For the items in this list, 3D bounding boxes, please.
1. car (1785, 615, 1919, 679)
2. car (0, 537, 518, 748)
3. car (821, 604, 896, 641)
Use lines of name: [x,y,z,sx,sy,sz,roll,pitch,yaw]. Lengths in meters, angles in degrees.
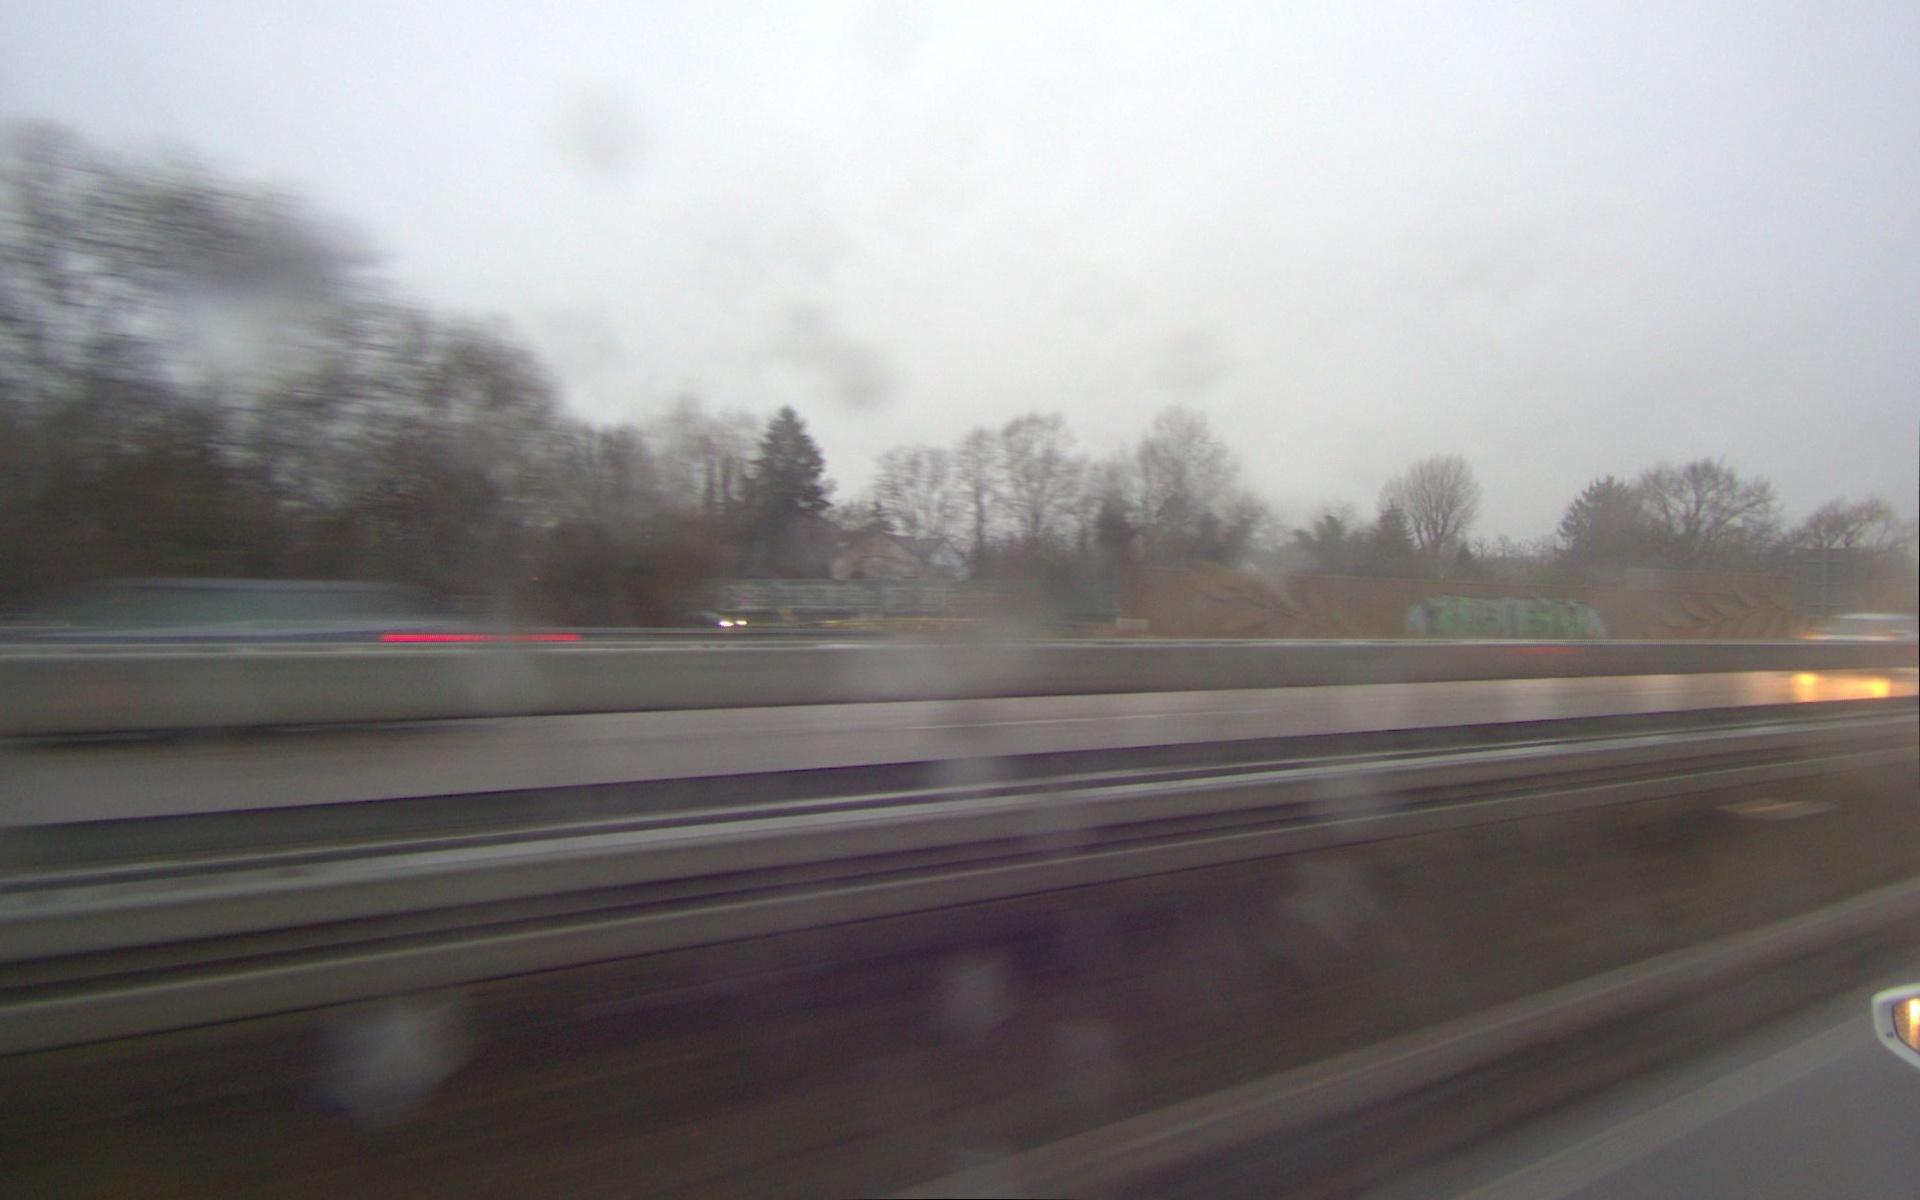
car: [25.632,1.312,28.576,4.725,1.649,1.856,2,0,-31]
car: [-6.462,0.359,9.351,4.130,1.629,1.718,2,0,-30]
car: [-4.729,1.016,46.264,1.871,1.539,3.965,1,1,-32]
